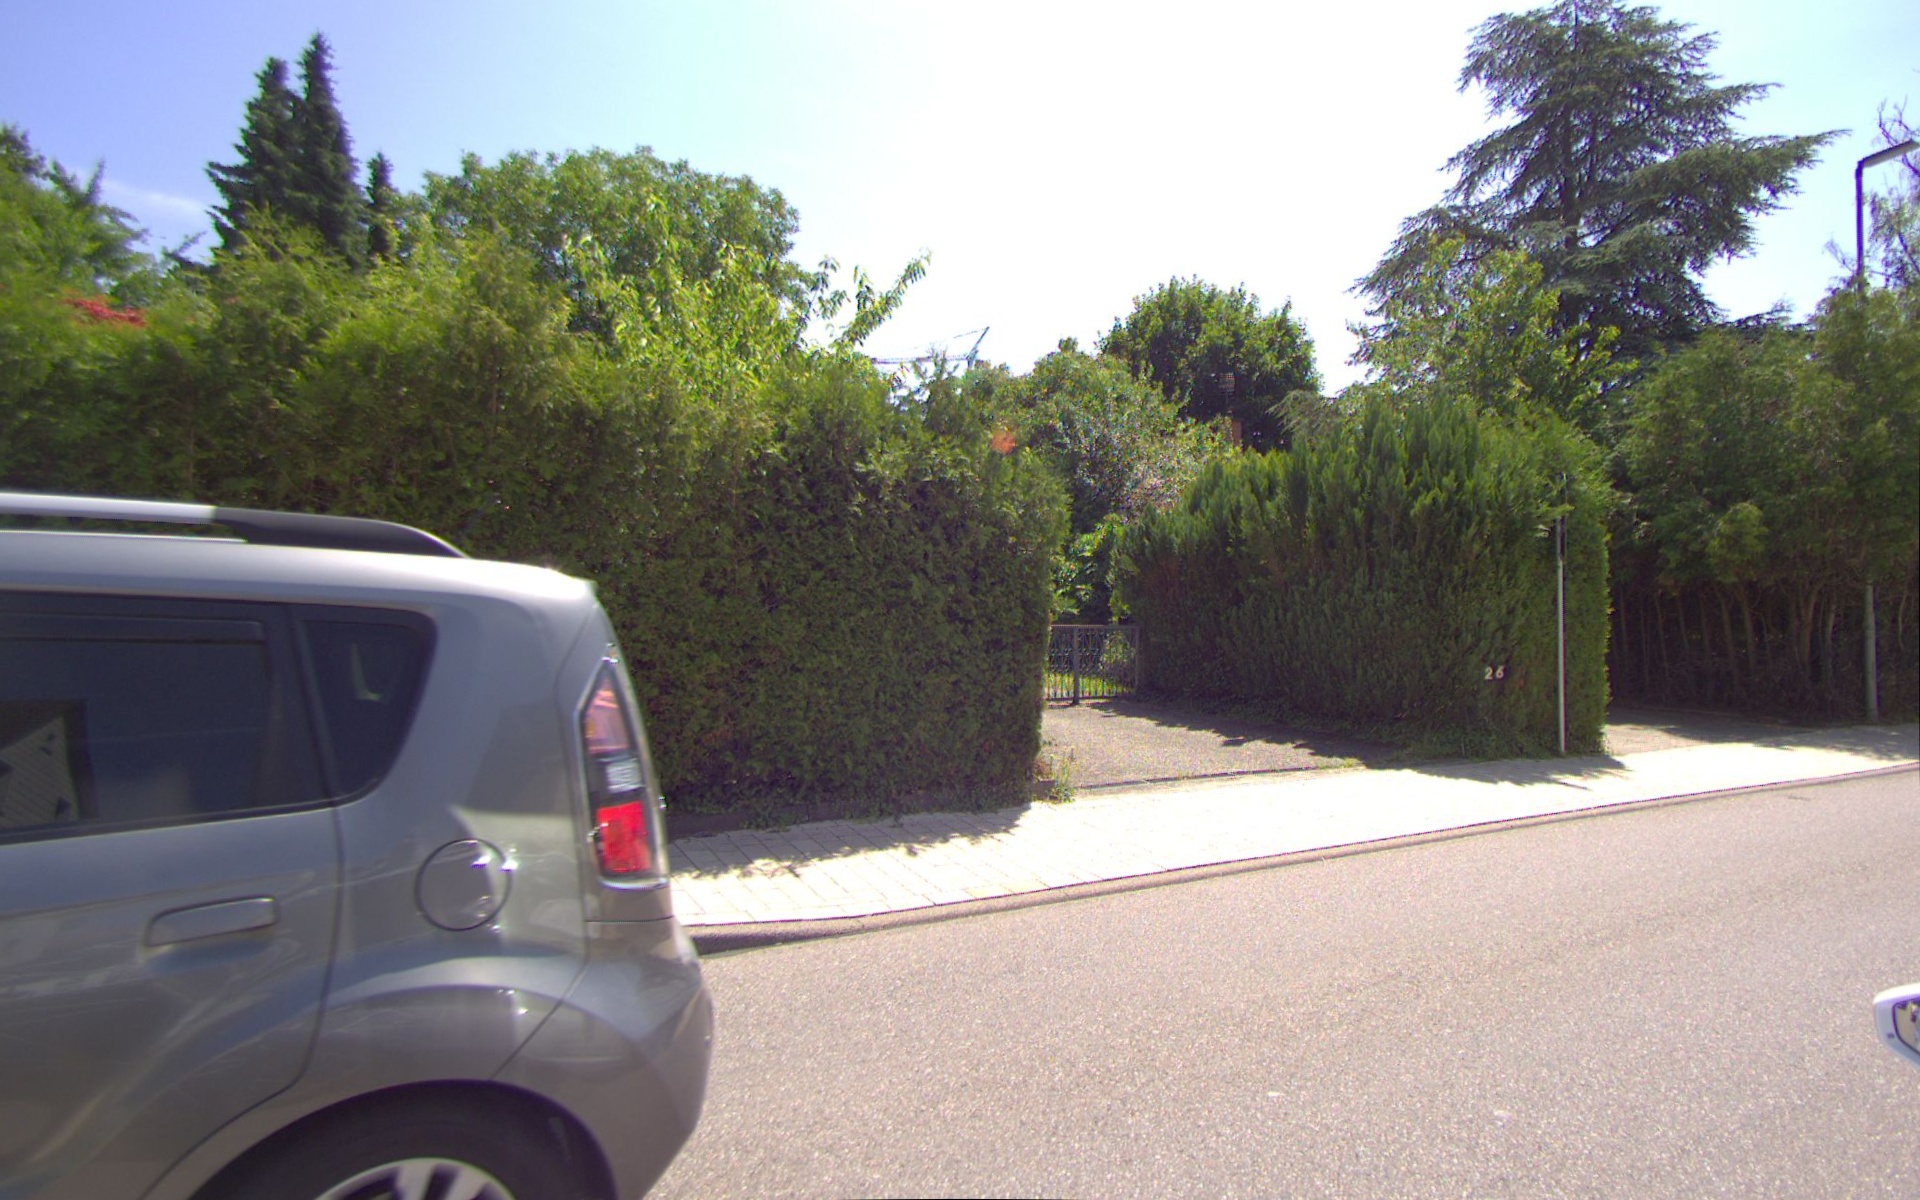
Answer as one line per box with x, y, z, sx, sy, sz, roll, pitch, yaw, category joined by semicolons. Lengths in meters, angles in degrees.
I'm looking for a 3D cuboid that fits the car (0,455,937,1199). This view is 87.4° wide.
-2.192;0.633;1.967;3.901;1.674;1.859;1;0;-30;car
